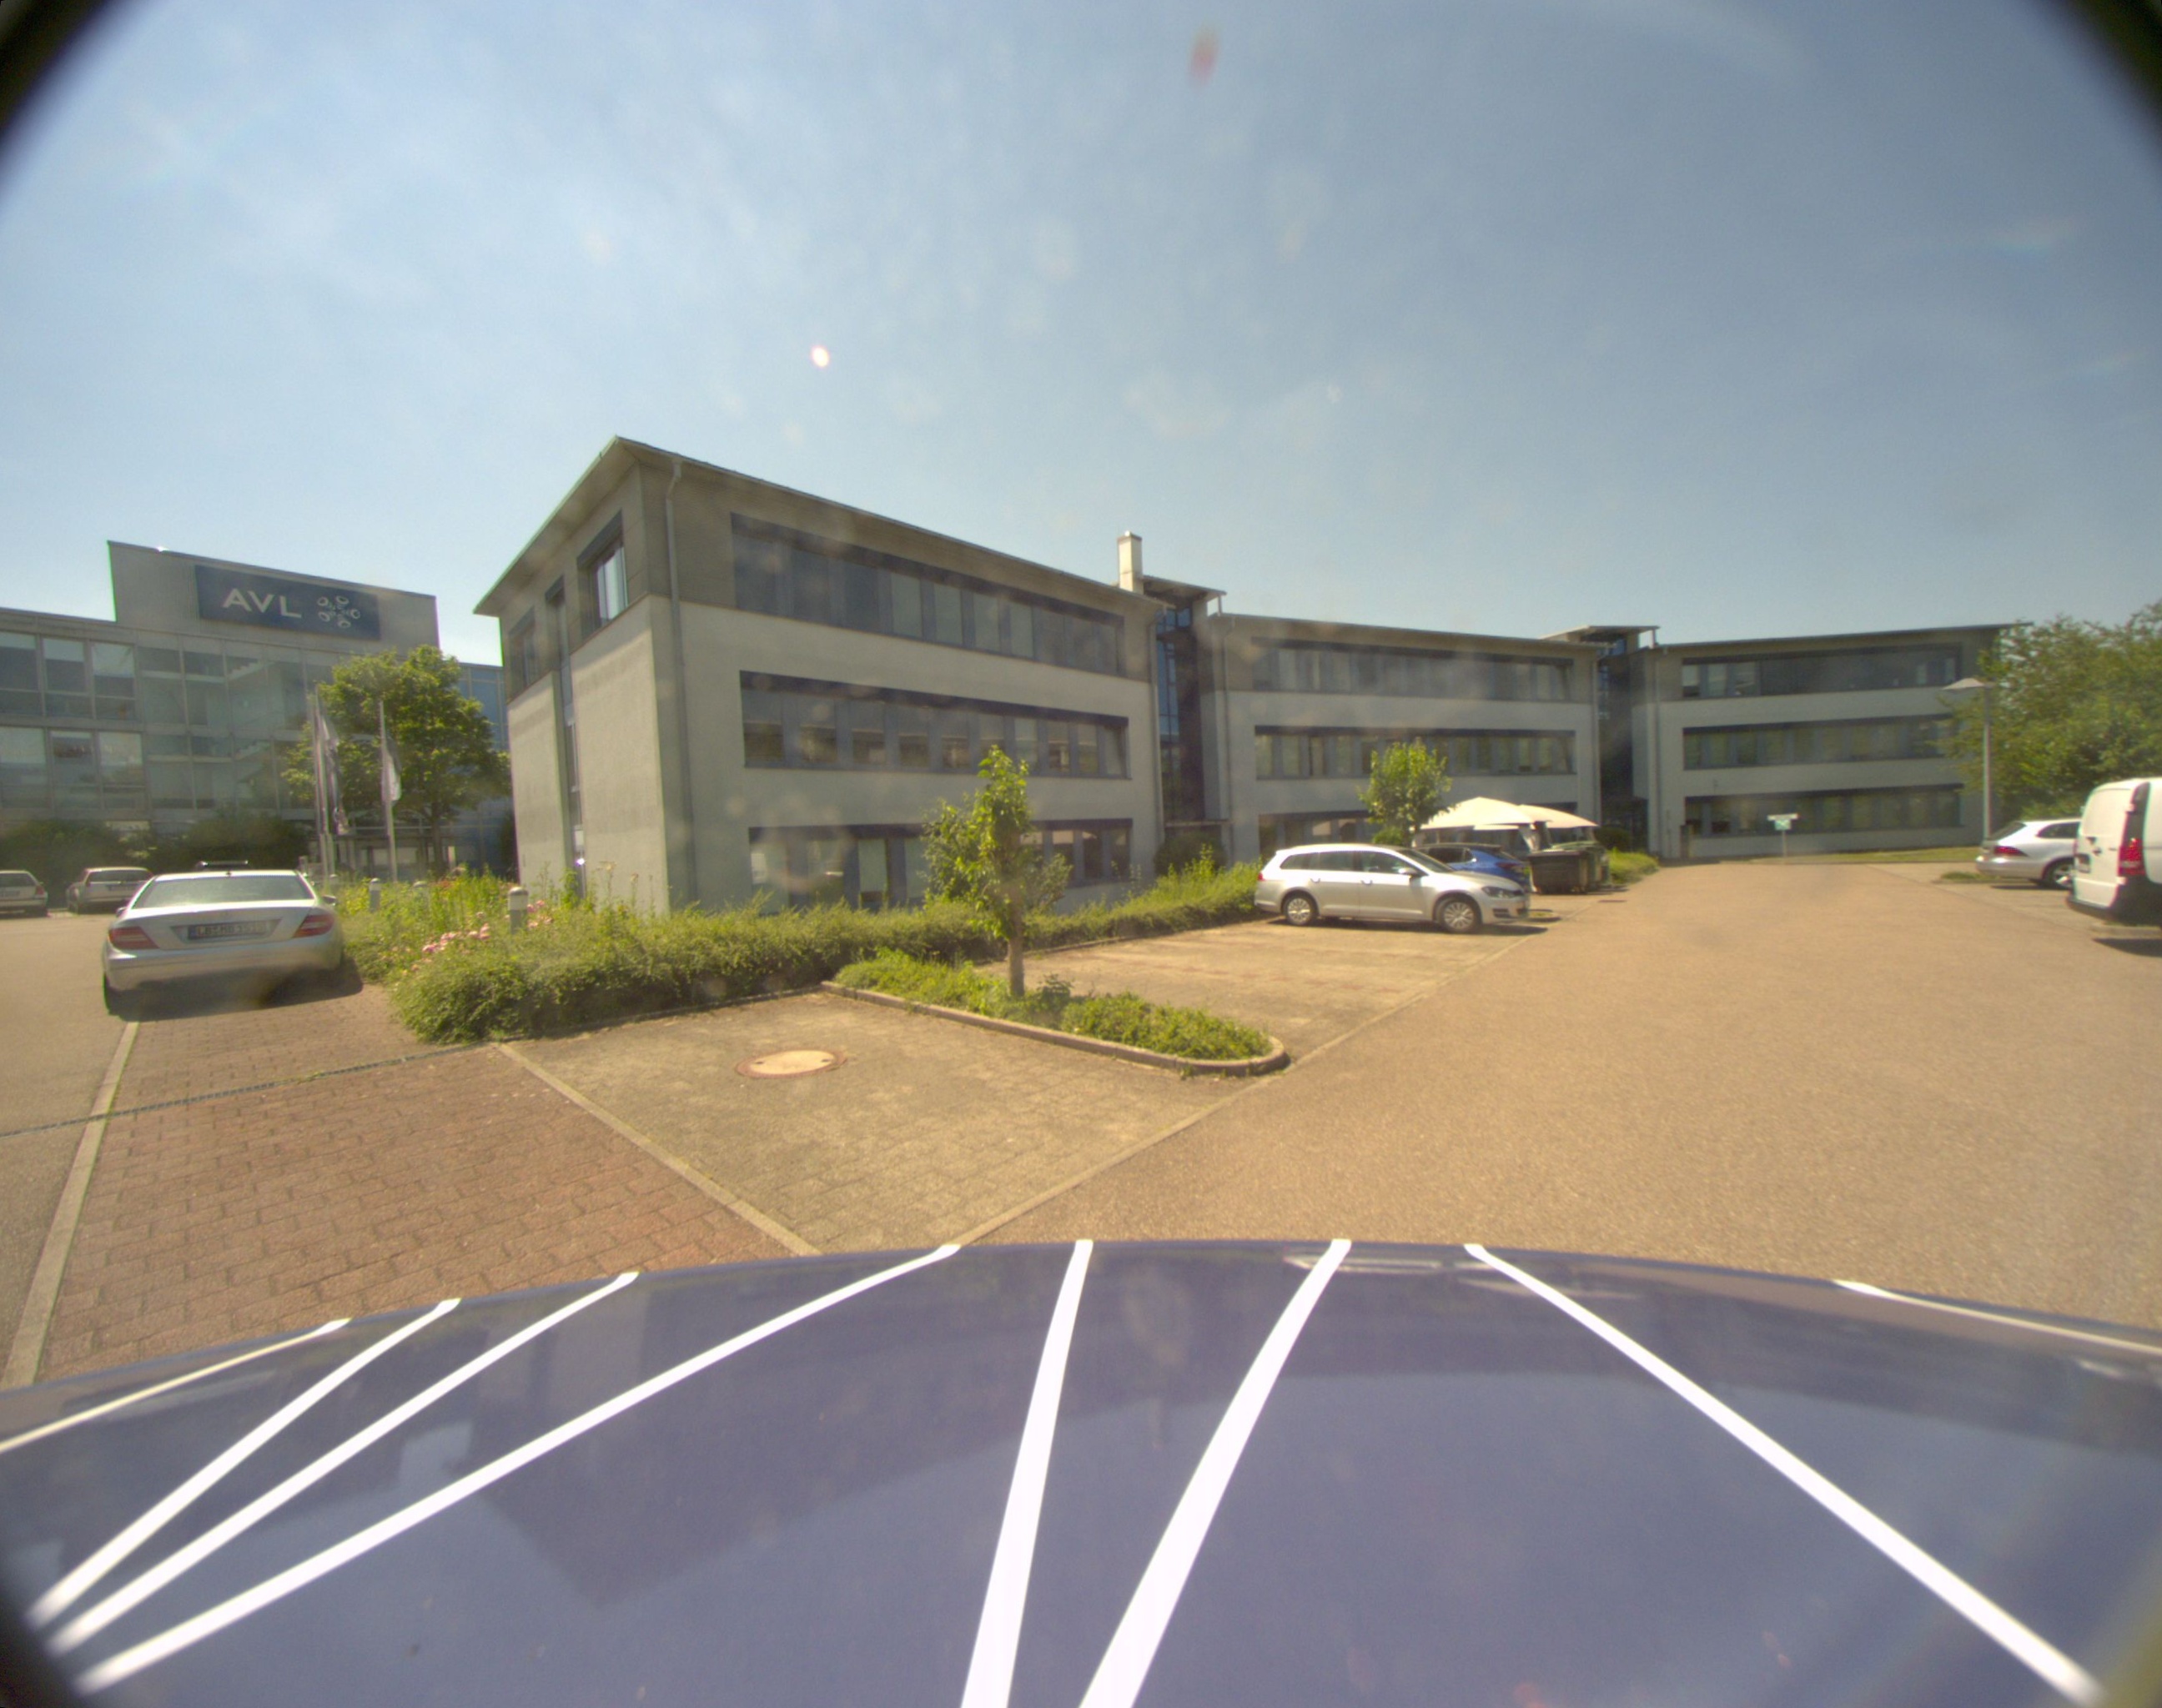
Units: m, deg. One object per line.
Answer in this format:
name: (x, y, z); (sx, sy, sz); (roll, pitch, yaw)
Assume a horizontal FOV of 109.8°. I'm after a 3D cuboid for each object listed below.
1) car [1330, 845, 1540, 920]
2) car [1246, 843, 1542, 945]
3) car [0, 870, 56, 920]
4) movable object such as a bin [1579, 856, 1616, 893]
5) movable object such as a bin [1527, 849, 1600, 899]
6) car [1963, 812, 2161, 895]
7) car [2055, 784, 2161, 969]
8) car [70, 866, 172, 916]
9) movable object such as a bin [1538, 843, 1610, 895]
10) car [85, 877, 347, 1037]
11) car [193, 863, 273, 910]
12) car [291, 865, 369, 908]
car: (7.547, 0.537, 16.366); (3.816, 1.384, 1.655); (0, 2, 39)
car: (5.416, 0.602, 13.471); (4.507, 1.489, 1.833); (0, 2, 39)
car: (-33.674, 1.281, 23.733); (3.989, 1.432, 1.677); (-2, 1, 33)
movable object such as a bin: (13.967, 0.551, 20.555); (0.723, 0.944, 0.689); (-3, 1, -44)
movable object such as a bin: (12.312, 0.493, 19.381); (0.999, 1.183, 1.361); (-3, 1, -44)
car: (20.644, -0.019, 15.138); (3.755, 1.549, 1.664); (-2, 1, 39)
car: (13.029, 0.154, 7.110); (4.508, 1.871, 1.833); (-2, 1, 39)
car: (-32.724, 1.223, 25.870); (3.989, 1.510, 1.753); (-2, 1, 33)
movable object such as a bin: (13.056, 0.391, 20.130); (1.045, 1.288, 1.361); (-3, 1, -44)
car: (-10.249, 1.044, 9.105); (3.706, 1.428, 1.733); (-2, 1, 41)
car: (-30.731, 1.133, 27.511); (3.989, 1.510, 1.753); (-2, 1, 40)
car: (-29.135, 1.233, 29.451); (3.989, 1.510, 1.753); (-2, 1, 40)
